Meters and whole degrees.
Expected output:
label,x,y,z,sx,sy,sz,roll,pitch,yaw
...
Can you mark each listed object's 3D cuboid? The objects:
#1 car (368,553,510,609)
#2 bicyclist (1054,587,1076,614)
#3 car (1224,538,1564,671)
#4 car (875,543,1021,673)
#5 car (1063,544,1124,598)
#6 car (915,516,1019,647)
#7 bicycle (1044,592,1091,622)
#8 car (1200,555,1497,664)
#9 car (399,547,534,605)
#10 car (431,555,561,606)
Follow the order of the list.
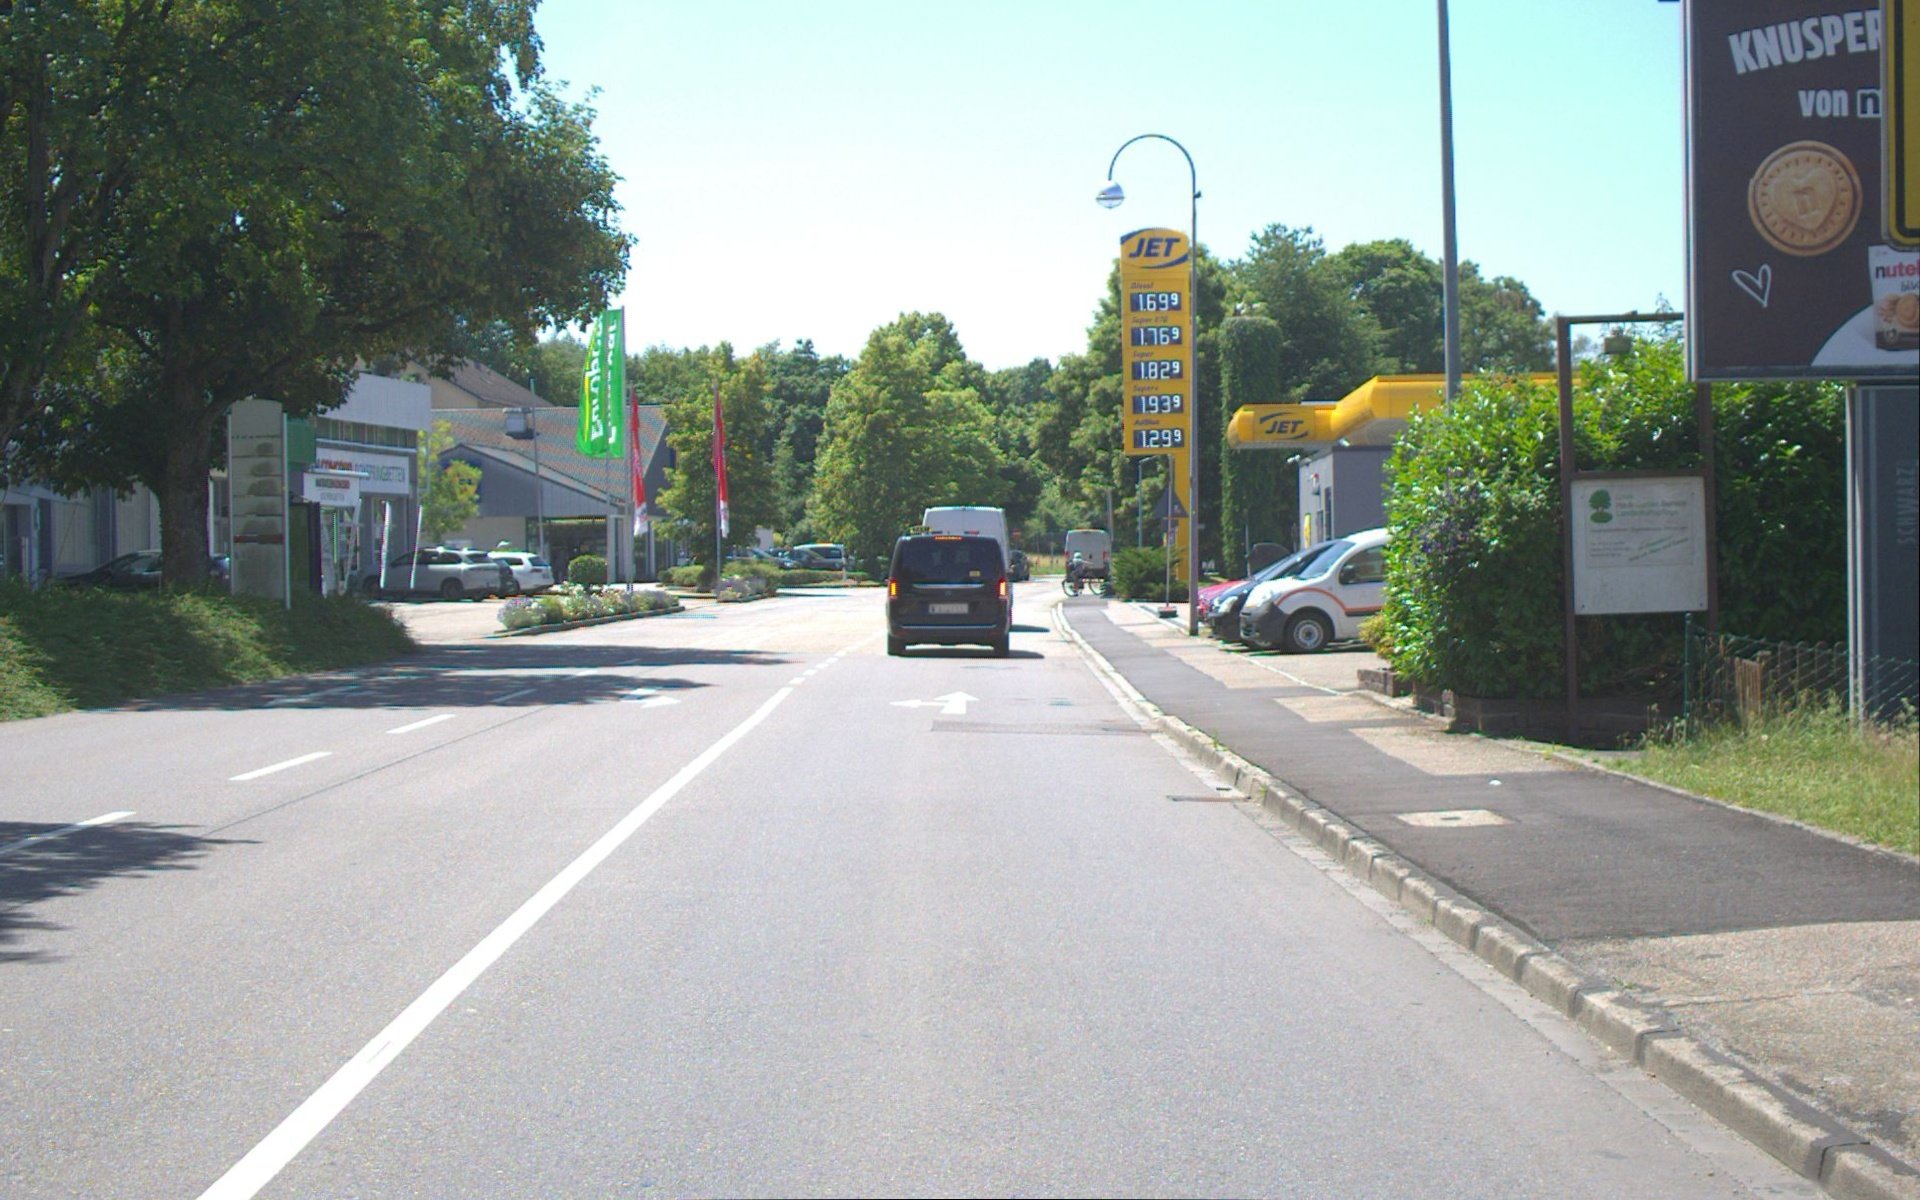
label,x,y,z,sx,sy,sz,roll,pitch,yaw
car,-16.682,-0.629,110.091,4.045,1.700,1.901,1,1,17
bicyclist,3.474,0.002,113.853,0.557,0.850,0.469,3,4,43
car,6.280,0.048,50.075,4.556,1.711,2.000,-2,2,-4
car,-0.231,0.092,53.352,1.993,1.886,4.001,0,1,-4
car,6.559,-1.449,168.037,2.353,2.538,4.954,1,1,9
car,0.125,-0.457,73.603,2.120,2.668,5.662,1,1,0
bicycle,3.571,0.224,113.957,0.557,0.884,1.717,3,4,43
car,5.876,0.128,52.320,4.156,1.452,1.907,-2,2,-5
car,-16.424,-0.810,114.483,3.989,1.826,1.945,1,1,12
car,-15.914,-0.684,117.910,3.988,1.656,1.999,1,1,10
